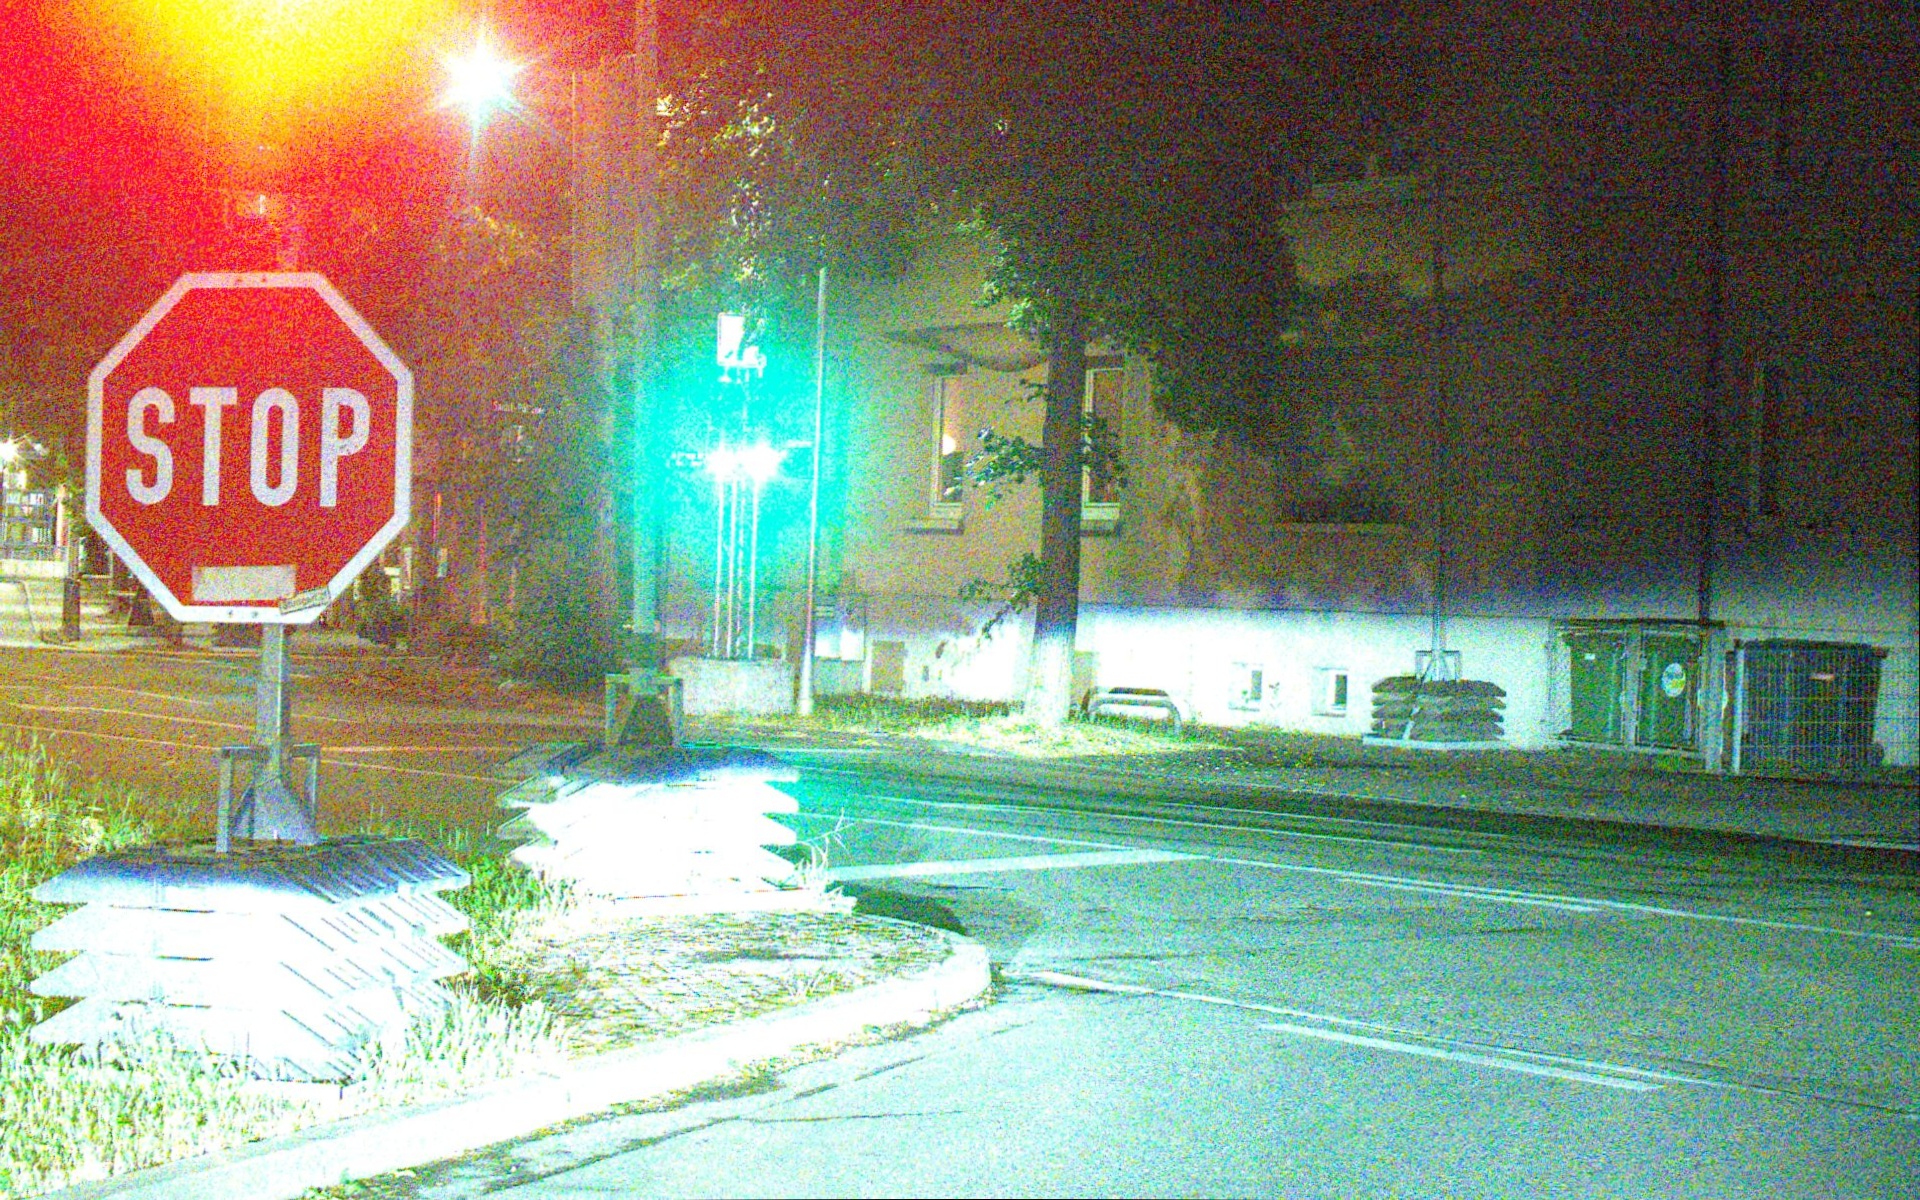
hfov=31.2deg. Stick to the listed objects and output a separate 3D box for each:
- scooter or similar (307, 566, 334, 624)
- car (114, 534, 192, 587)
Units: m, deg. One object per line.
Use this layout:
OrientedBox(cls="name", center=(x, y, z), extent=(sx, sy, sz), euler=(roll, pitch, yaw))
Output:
OrientedBox(cls="scooter or similar", center=(-12.810, -0.105, 68.858), extent=(0.421, 1.126, 1.494), euler=(2, 1, -8))
OrientedBox(cls="car", center=(-24.532, -1.212, 104.428), extent=(1.733, 1.454, 4.729), euler=(3, 0, -19))
